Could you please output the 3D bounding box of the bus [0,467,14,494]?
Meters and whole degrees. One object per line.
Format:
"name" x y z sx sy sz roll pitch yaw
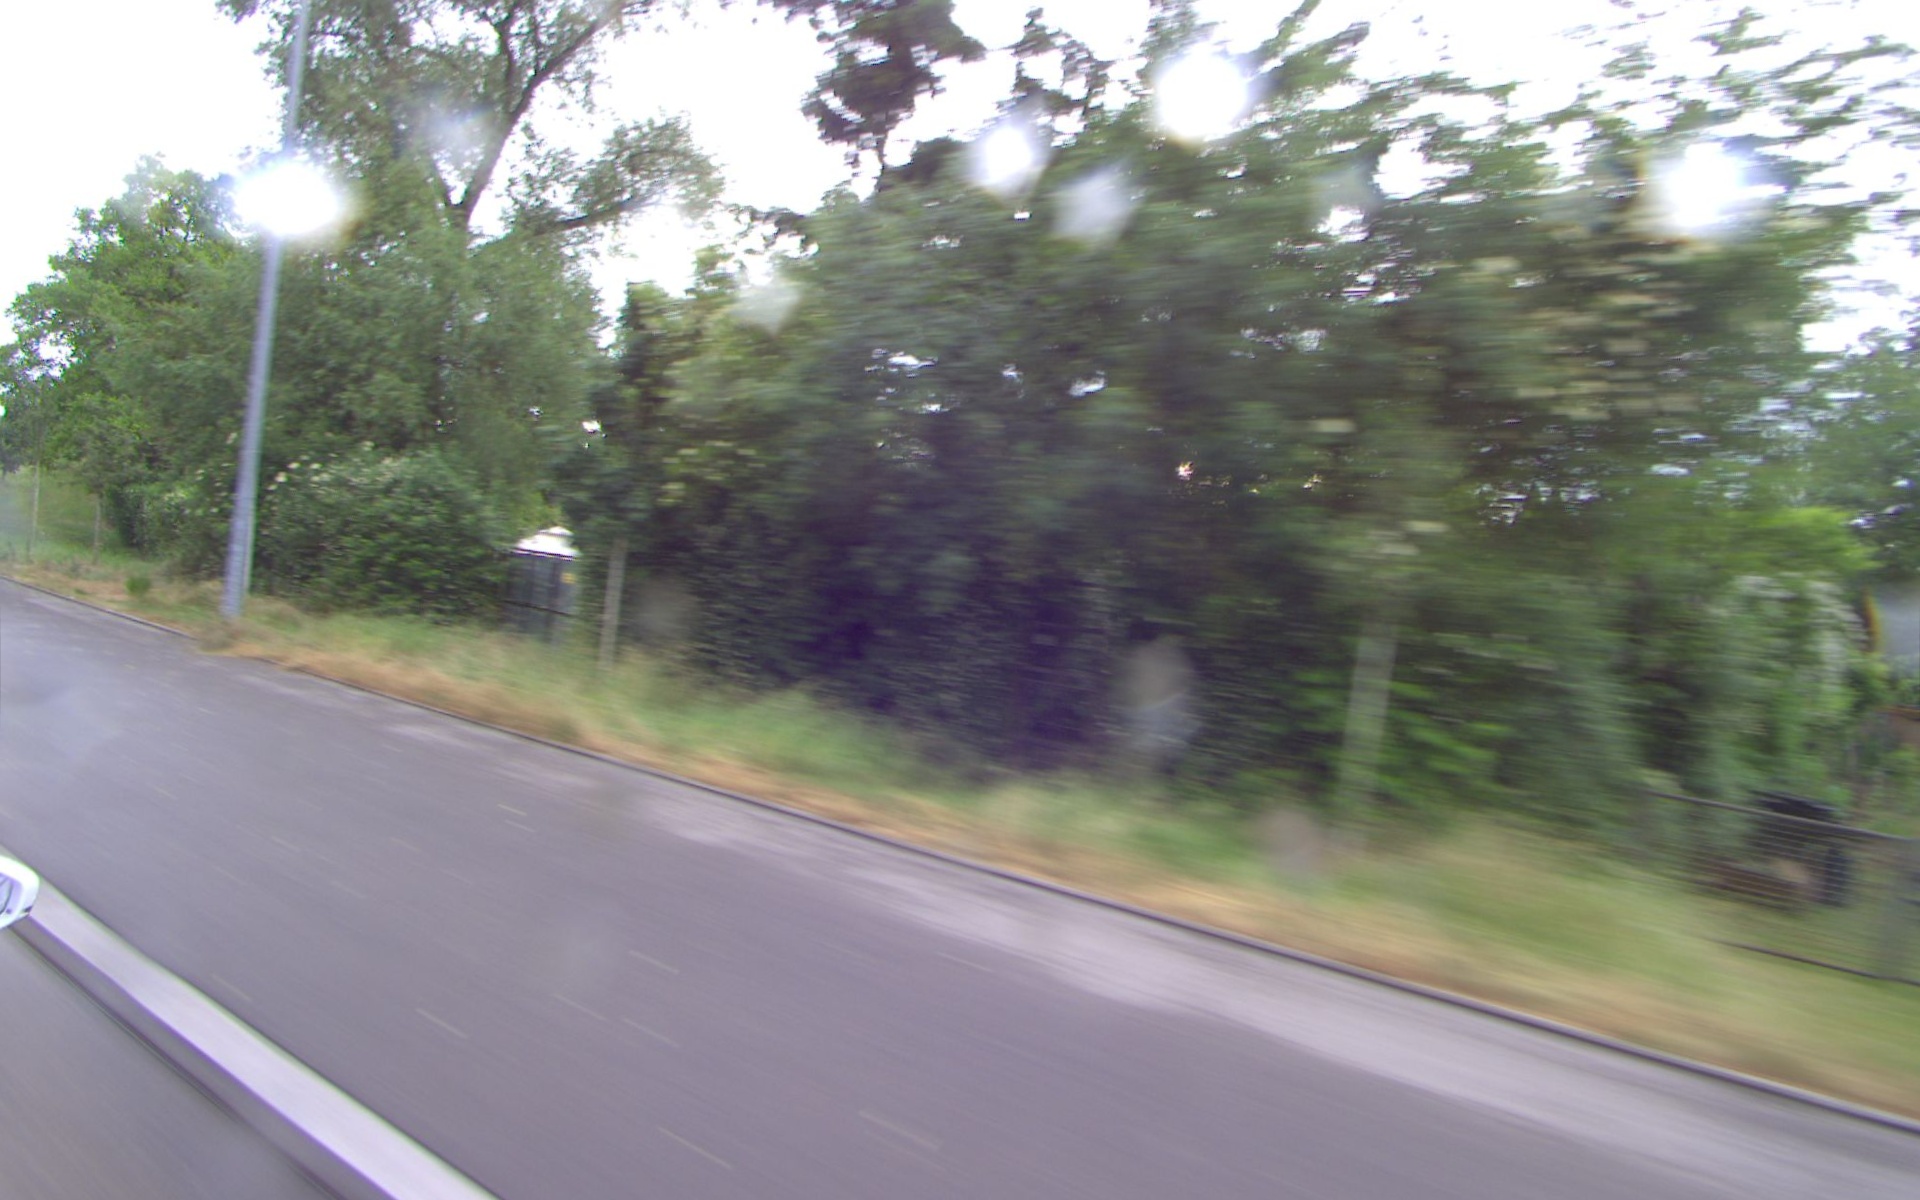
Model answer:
"bus" -119.218 -14.968 123.113 2.798 3.179 9.105 9 -1 -31
